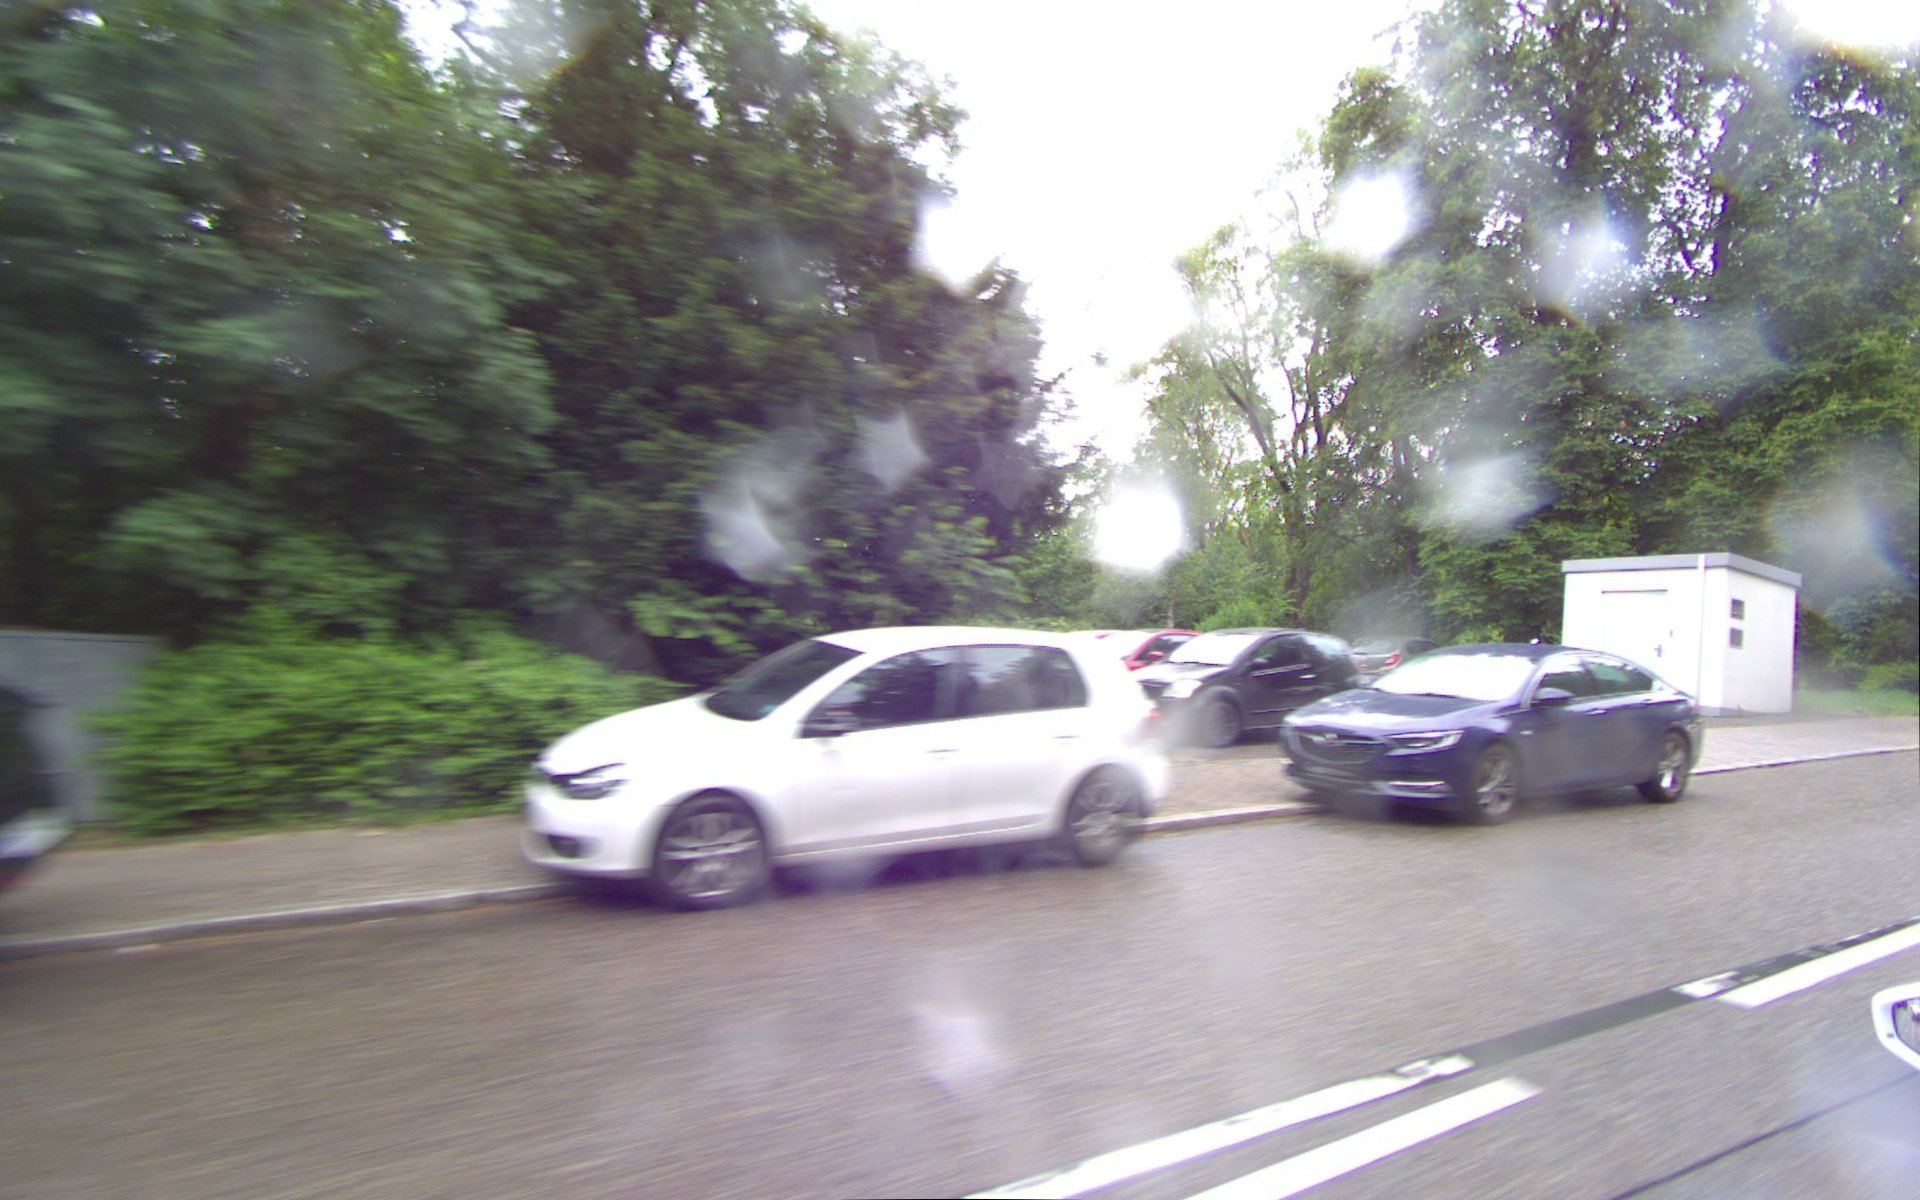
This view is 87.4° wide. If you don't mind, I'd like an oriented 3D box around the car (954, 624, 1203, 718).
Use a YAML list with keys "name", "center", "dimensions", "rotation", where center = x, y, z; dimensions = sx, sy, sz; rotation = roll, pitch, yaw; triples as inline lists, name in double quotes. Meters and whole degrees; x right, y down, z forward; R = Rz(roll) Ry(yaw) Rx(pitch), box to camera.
- name: "car"
  center: [2.109, 1.190, 17.525]
  dimensions: [4.191, 1.478, 1.588]
  rotation: [2, -2, -29]

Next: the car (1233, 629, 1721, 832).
- name: "car"
  center: [4.985, 1.101, 9.518]
  dimensions: [4.700, 1.512, 1.852]
  rotation: [2, -5, -30]

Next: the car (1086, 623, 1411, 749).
- name: "car"
  center: [3.970, 1.086, 13.640]
  dimensions: [4.343, 1.478, 1.715]
  rotation: [2, -2, -29]

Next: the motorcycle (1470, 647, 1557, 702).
- name: "motorcycle"
  center: [12.840, 1.710, 23.281]
  dimensions: [2.248, 1.204, 0.598]
  rotation: [2, -2, -27]

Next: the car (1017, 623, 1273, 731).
- name: "car"
  center: [2.881, 1.126, 15.464]
  dimensions: [3.729, 1.478, 1.614]
  rotation: [2, -2, -29]

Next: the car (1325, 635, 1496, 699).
- name: "car"
  center: [11.488, 1.662, 25.528]
  dimensions: [4.349, 1.478, 1.934]
  rotation: [2, -2, -33]

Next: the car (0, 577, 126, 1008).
- name: "car"
  center: [-5.706, 0.710, 3.374]
  dimensions: [4.131, 1.625, 1.639]
  rotation: [2, -4, -27]

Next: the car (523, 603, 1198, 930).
- name: "car"
  center: [-0.584, 0.880, 6.574]
  dimensions: [4.094, 1.590, 1.650]
  rotation: [1, -2, -27]
